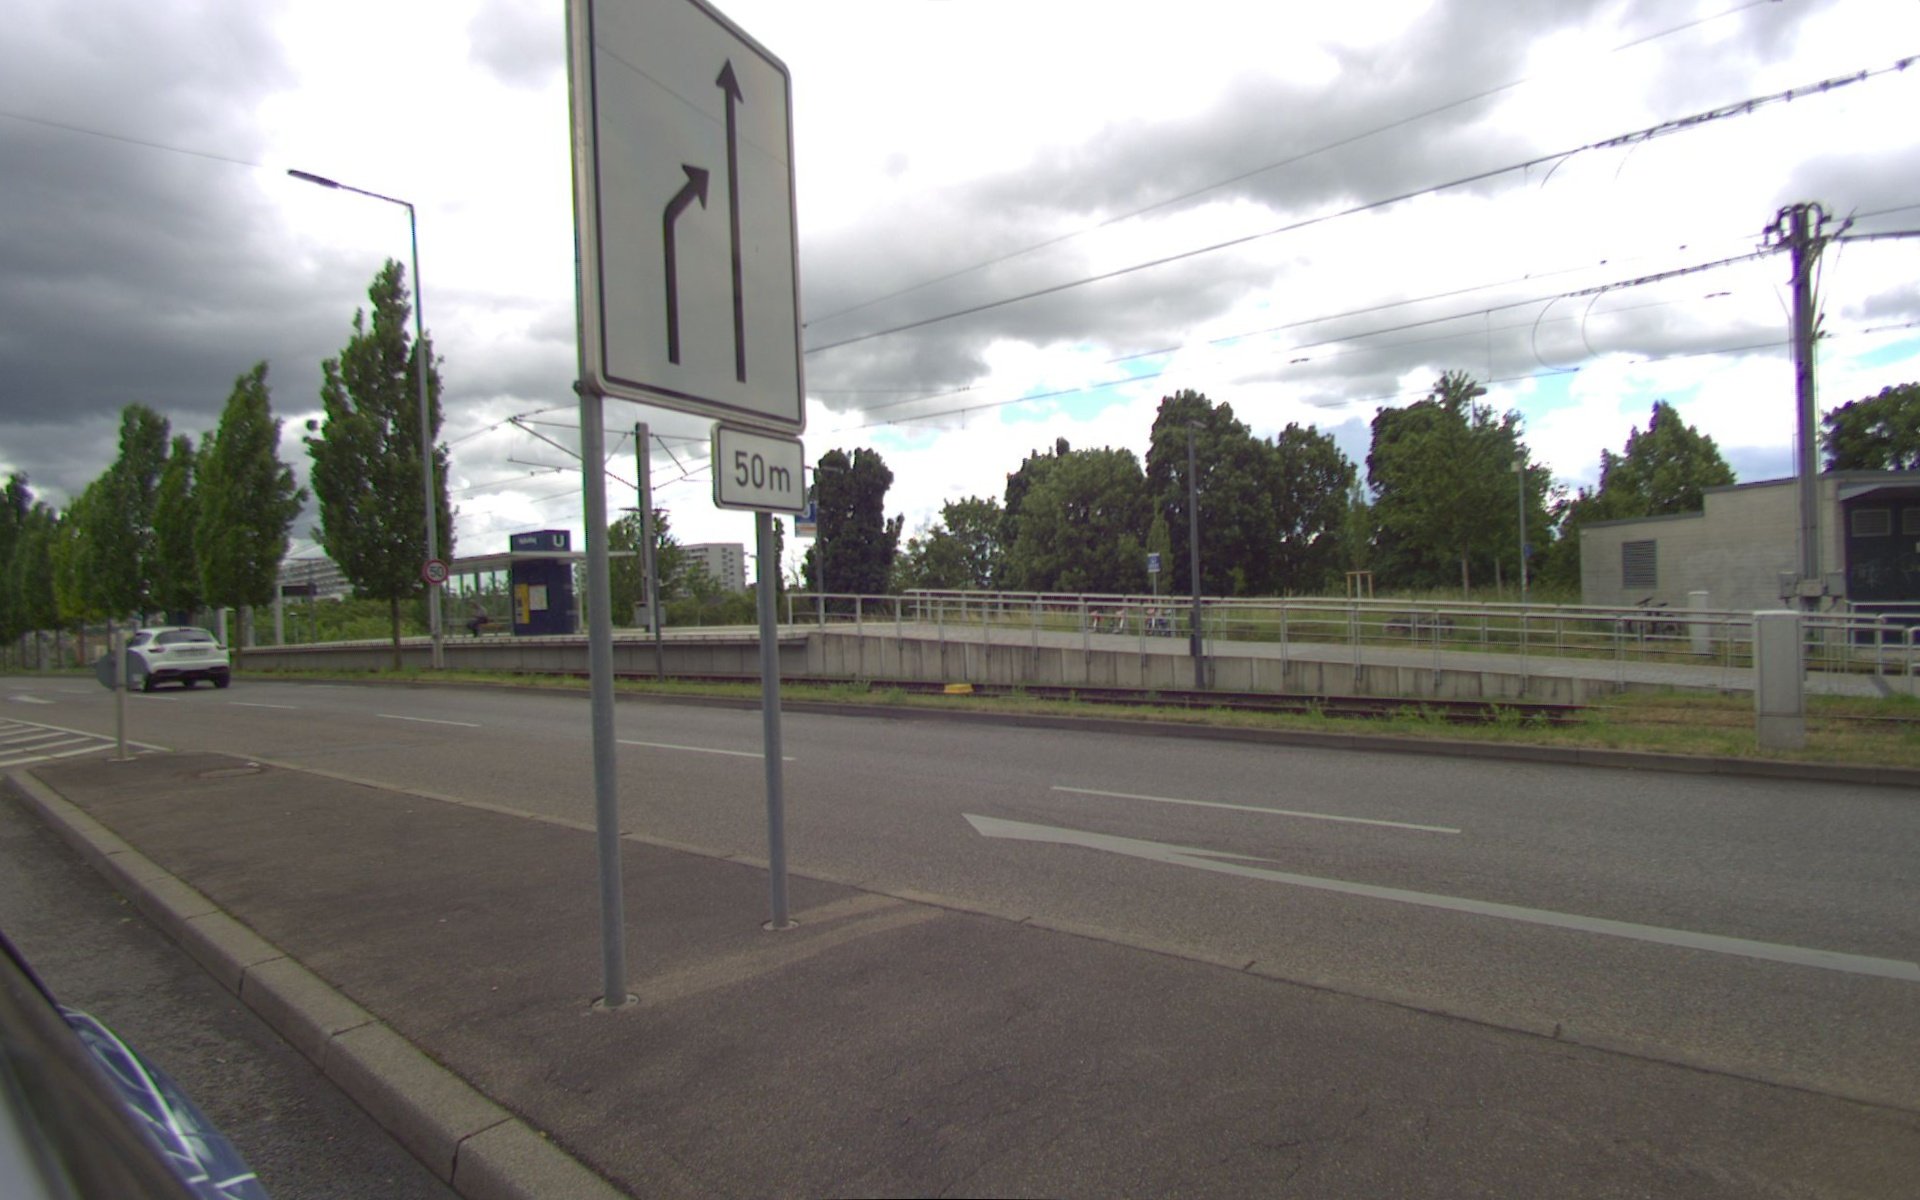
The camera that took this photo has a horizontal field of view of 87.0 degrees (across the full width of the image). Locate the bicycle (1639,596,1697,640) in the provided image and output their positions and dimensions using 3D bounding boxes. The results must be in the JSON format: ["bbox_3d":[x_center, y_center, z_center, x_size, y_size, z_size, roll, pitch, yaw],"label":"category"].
[{"bbox_3d":[18.198,0.455,26.048,0.486,1.095,1.480,-1,-1,3],"label":"bicycle"}]

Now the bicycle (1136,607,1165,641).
[{"bbox_3d":[6.383,0.791,33.937,0.490,1.095,1.466,-2,-1,30],"label":"bicycle"}]

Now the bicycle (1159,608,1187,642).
[{"bbox_3d":[7.049,0.813,33.457,0.490,1.095,1.466,-2,-1,30],"label":"bicycle"}]

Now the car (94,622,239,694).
[{"bbox_3d":[-20.051,1.394,25.519,4.417,1.641,1.812,-1,-1,37],"label":"car"}]

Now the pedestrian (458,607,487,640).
[{"bbox_3d":[-18.247,0.878,37.864,0.781,1.211,0.656,-2,-1,33],"label":"pedestrian"}]

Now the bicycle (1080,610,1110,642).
[{"bbox_3d":[4.687,0.893,35.150,0.490,1.095,1.466,-2,-1,30],"label":"bicycle"}]

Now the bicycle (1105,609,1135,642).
[{"bbox_3d":[5.444,0.865,34.448,0.490,1.095,1.466,-2,-1,30],"label":"bicycle"}]
